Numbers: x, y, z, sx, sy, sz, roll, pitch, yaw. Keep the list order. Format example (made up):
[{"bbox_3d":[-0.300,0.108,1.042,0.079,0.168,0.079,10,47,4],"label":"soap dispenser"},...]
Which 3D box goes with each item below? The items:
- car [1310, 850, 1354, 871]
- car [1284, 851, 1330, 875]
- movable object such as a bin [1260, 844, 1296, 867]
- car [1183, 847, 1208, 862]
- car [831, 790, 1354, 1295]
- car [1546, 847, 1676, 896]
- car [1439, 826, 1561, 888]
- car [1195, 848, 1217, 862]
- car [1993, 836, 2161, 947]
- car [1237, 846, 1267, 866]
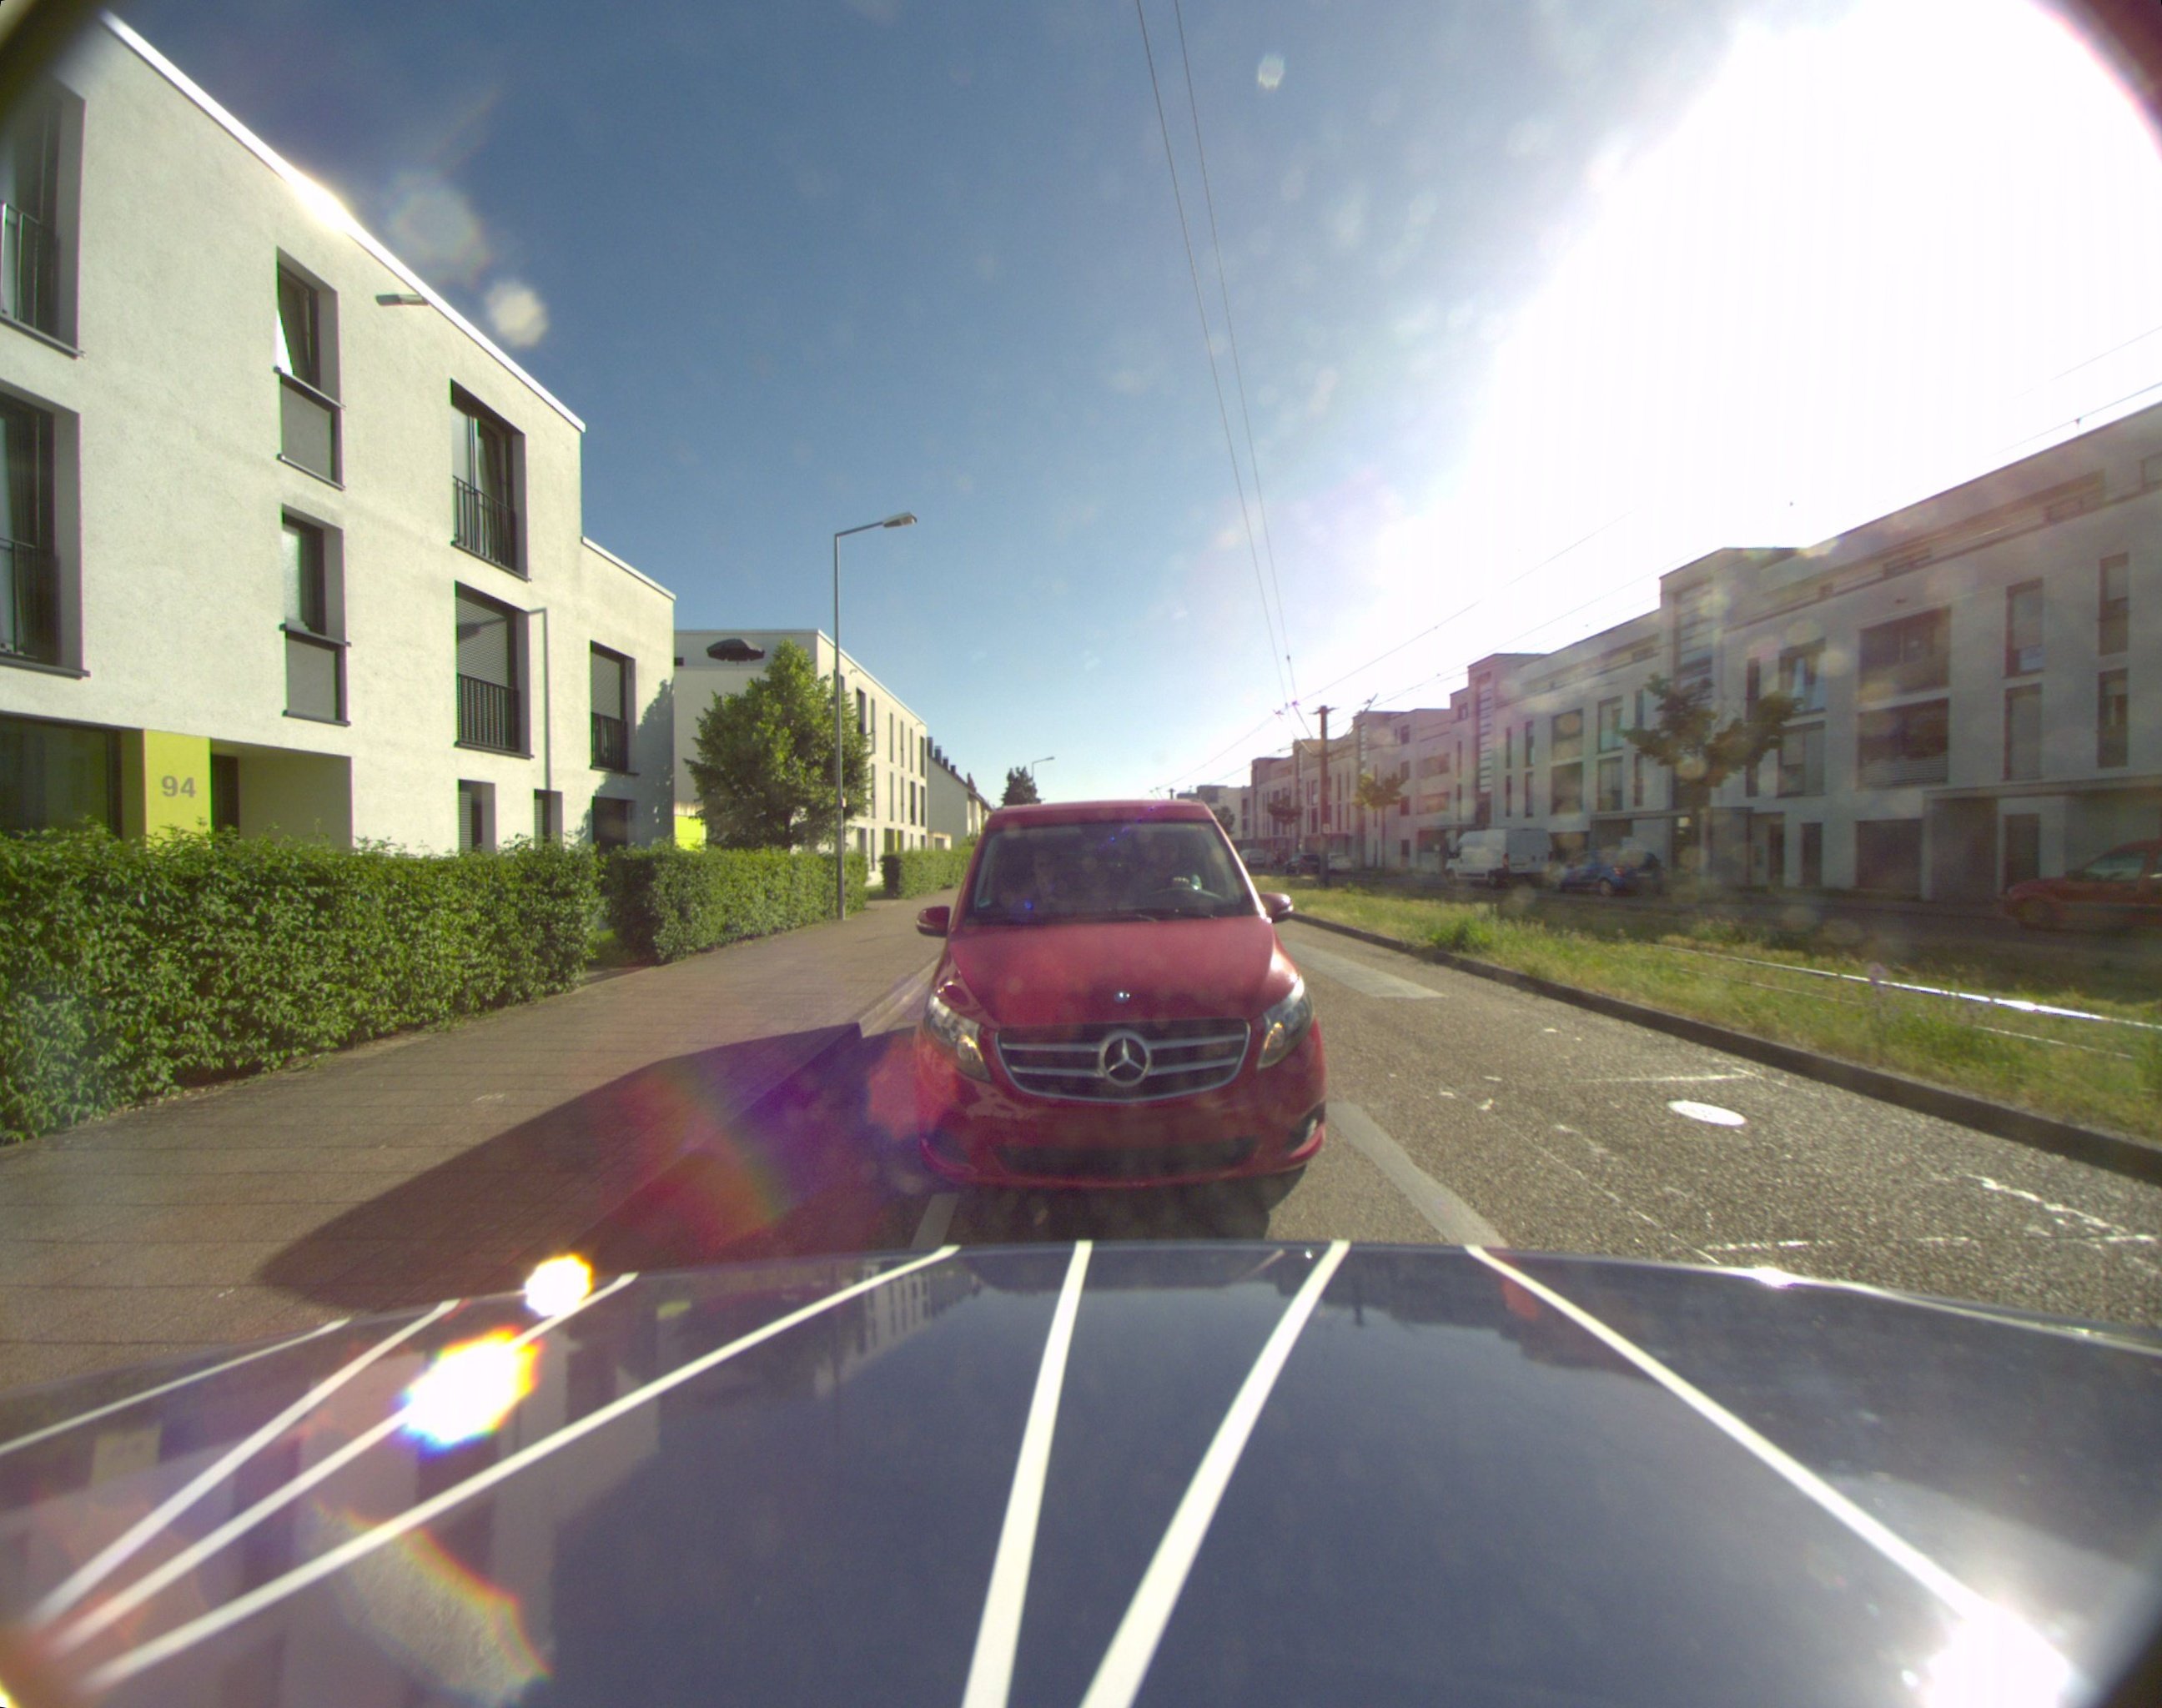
[{"bbox_3d":[17.710,0.447,53.774,1.521,1.424,4.155,-2,0,-4],"label":"car"},{"bbox_3d":[14.443,0.556,48.706,1.792,1.410,4.000,1,0,1],"label":"car"},{"bbox_3d":[17.028,0.131,65.916,1.766,1.926,4.155,-2,0,-4],"label":"movable object such as a bin"},{"bbox_3d":[12.905,0.032,86.076,1.999,1.586,4.645,2,0,-2],"label":"car"},{"bbox_3d":[0.105,0.739,5.584,1.979,1.922,5.205,-2,0,1],"label":"car"},{"bbox_3d":[18.293,0.562,26.456,1.829,1.528,3.842,-2,0,0],"label":"car"},{"bbox_3d":[18.150,0.116,33.316,2.146,2.430,5.588,-2,0,-1],"label":"car"},{"bbox_3d":[15.425,0.097,93.943,1.766,1.590,4.155,-2,0,-4],"label":"car"},{"bbox_3d":[18.567,0.595,12.781,1.885,1.785,3.837,-2,0,1],"label":"car"},{"bbox_3d":[16.686,0.157,74.251,1.766,1.859,4.155,-2,0,-4],"label":"car"}]
